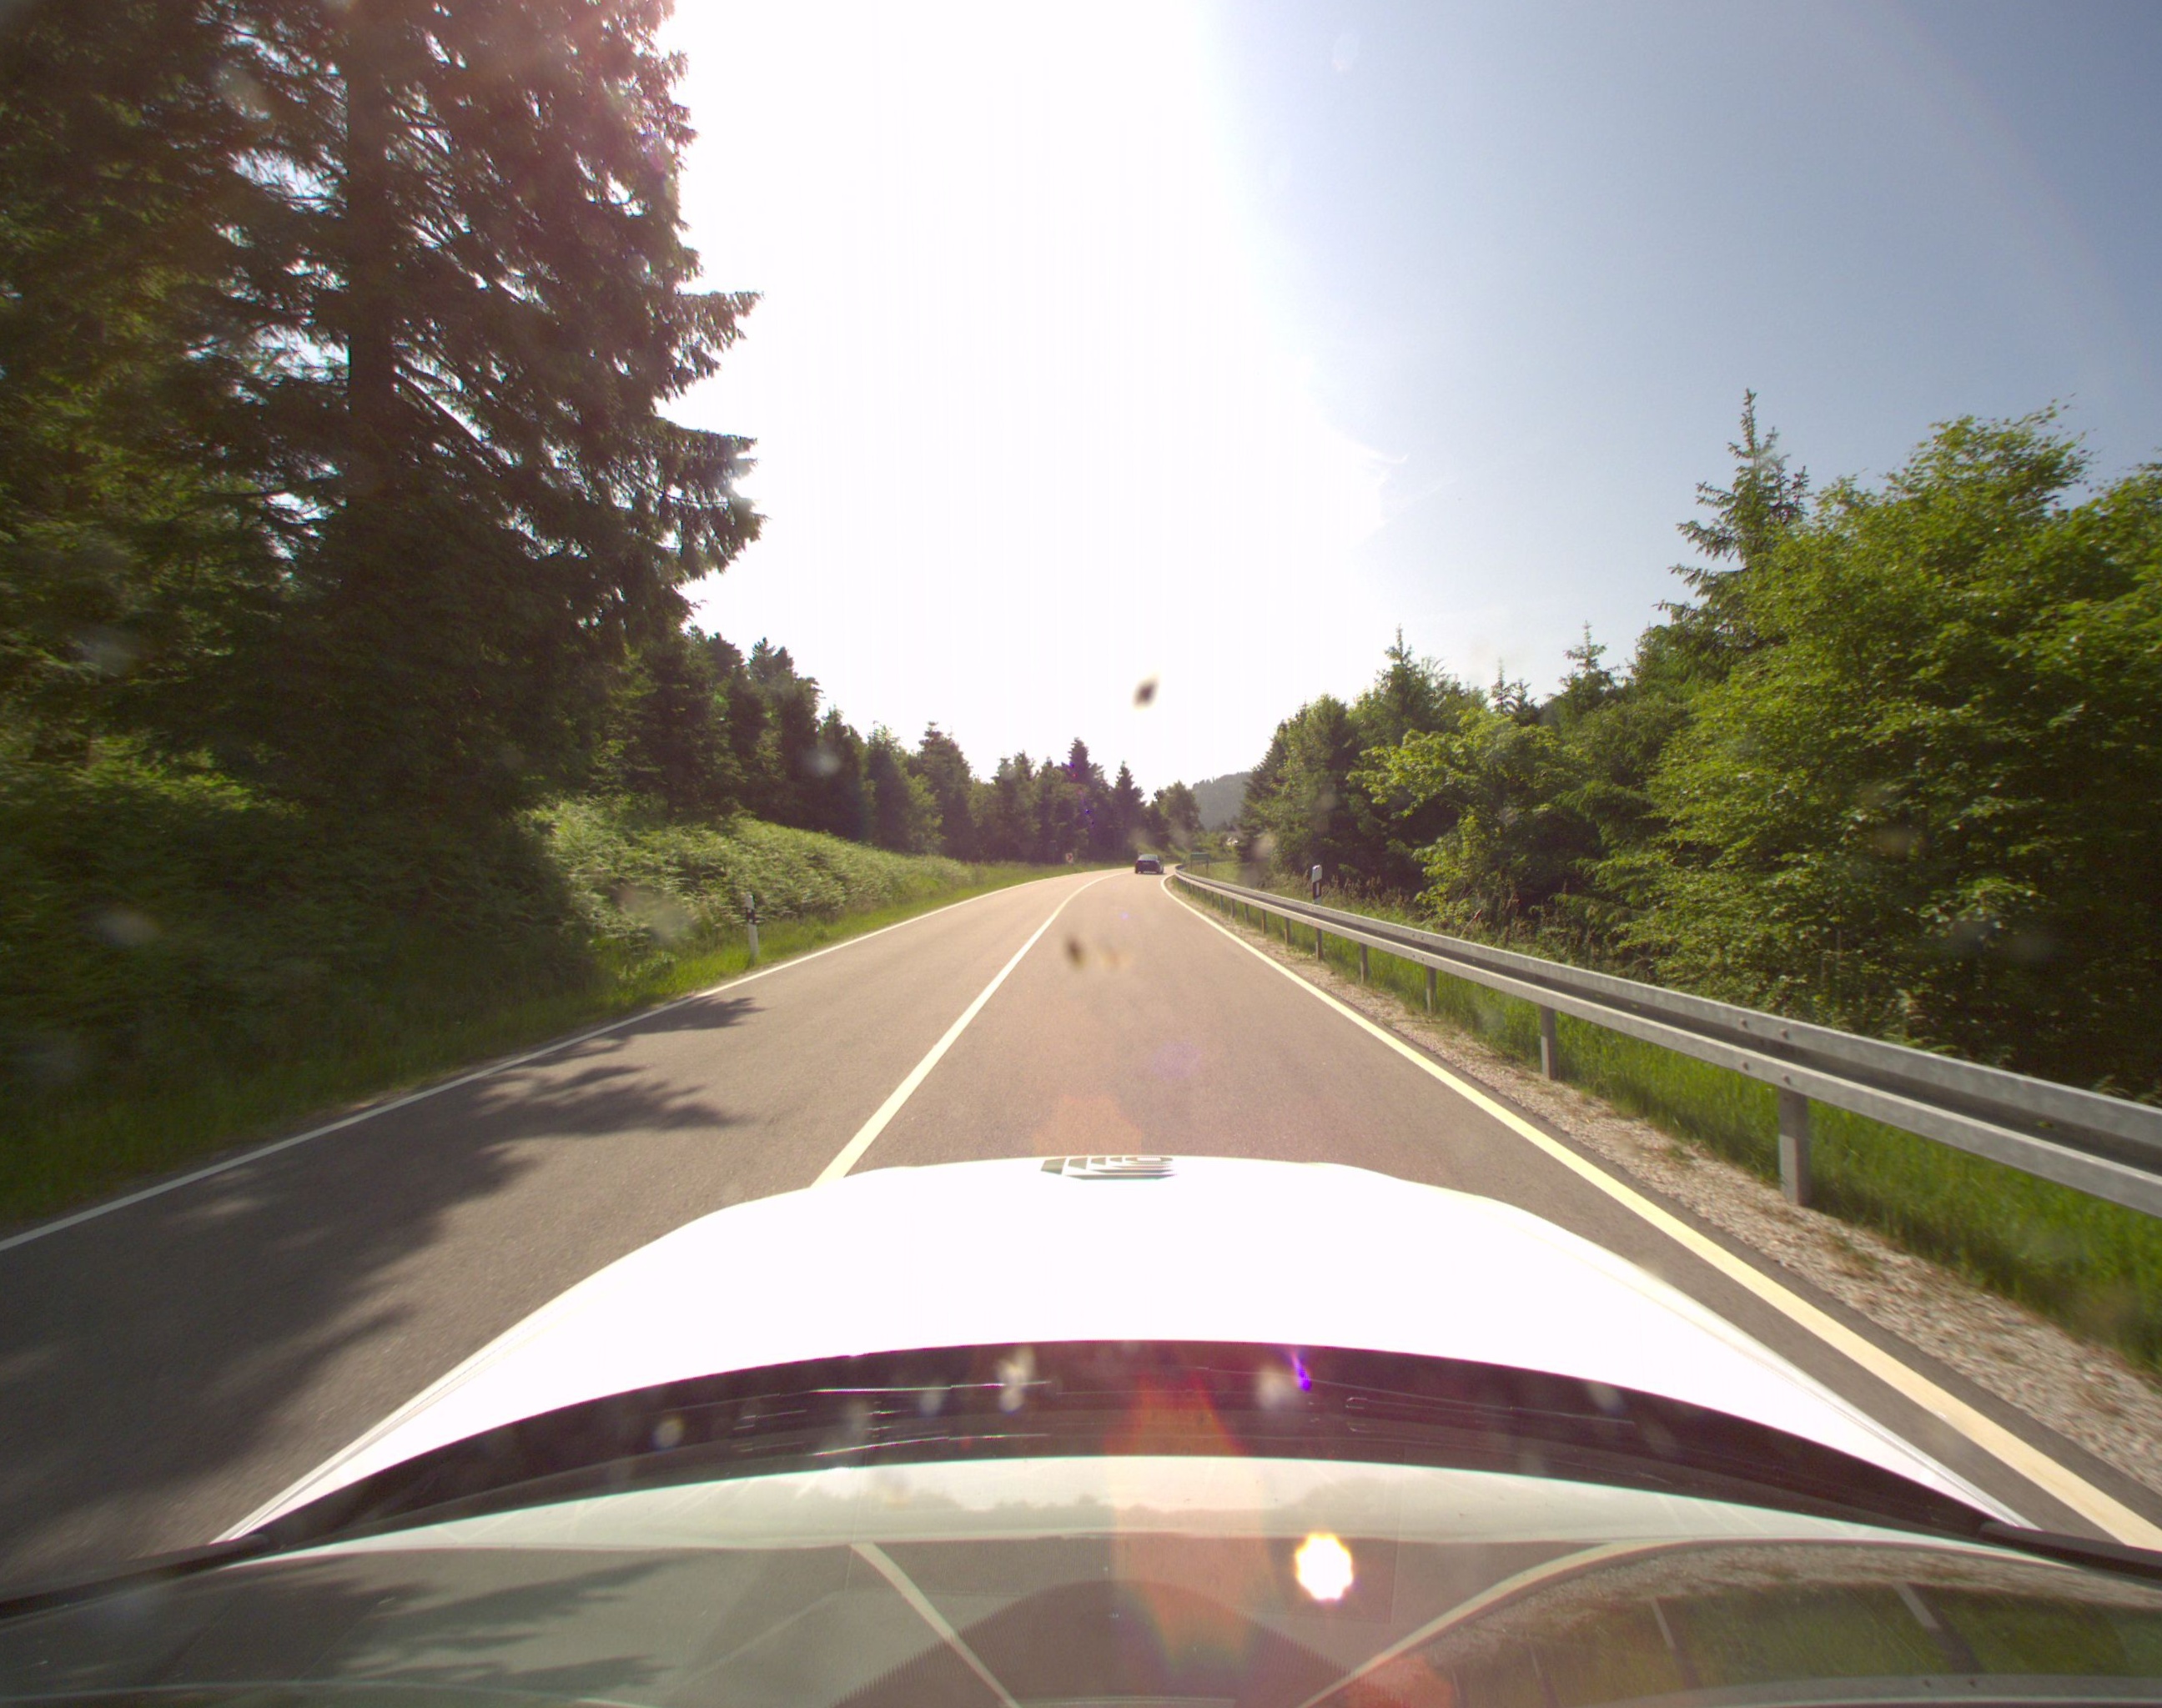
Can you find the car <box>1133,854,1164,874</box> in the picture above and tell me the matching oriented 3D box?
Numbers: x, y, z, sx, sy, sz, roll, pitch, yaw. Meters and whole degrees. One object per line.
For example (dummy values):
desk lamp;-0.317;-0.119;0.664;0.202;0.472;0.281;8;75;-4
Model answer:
car;5.020;0.747;60.085;1.764;1.442;3.721;-2;-1;12
